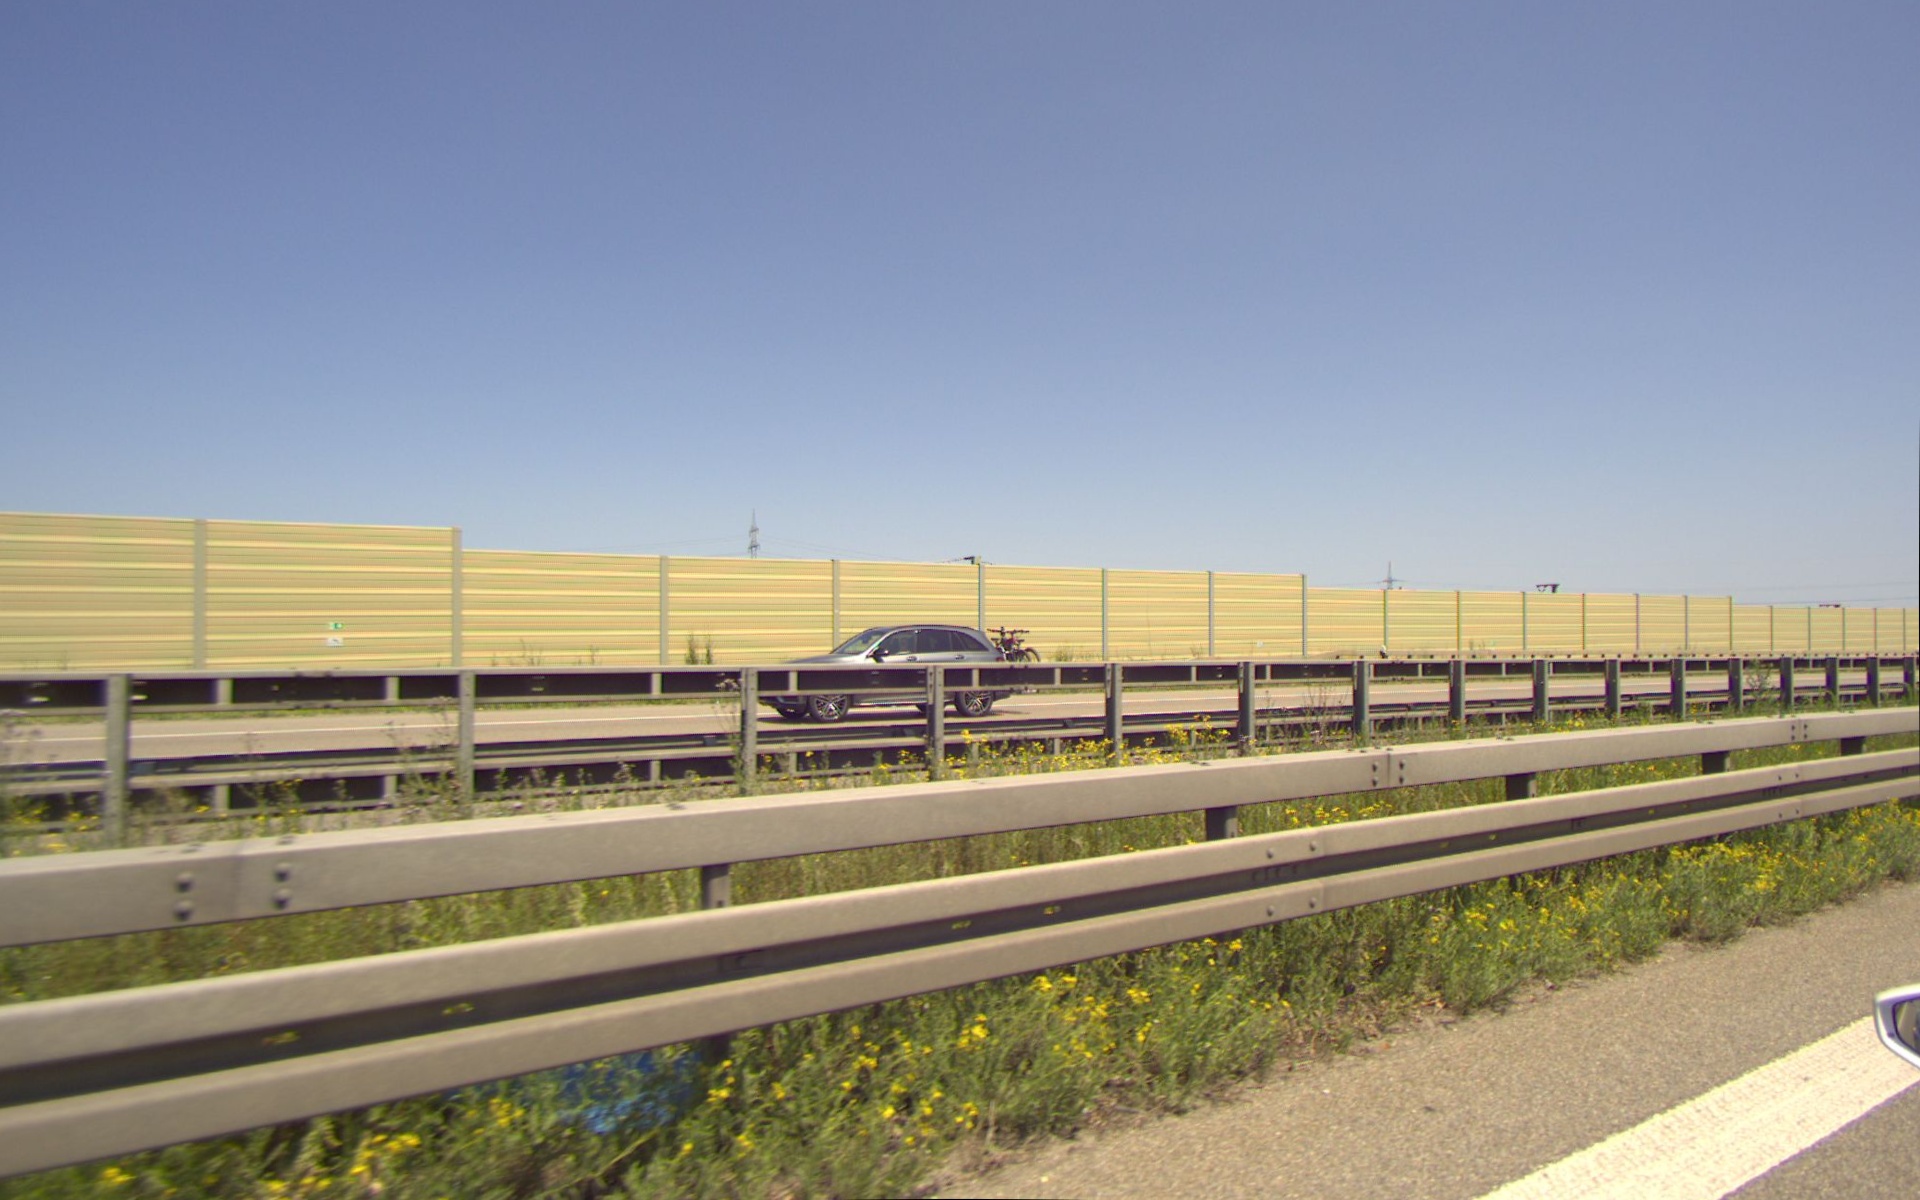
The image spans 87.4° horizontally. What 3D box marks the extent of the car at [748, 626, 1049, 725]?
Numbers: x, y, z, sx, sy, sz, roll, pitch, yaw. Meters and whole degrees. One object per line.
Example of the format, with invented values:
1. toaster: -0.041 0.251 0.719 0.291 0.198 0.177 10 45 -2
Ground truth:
1. car: -1.038 1.304 18.216 5.186 1.590 1.887 1 -3 -31
